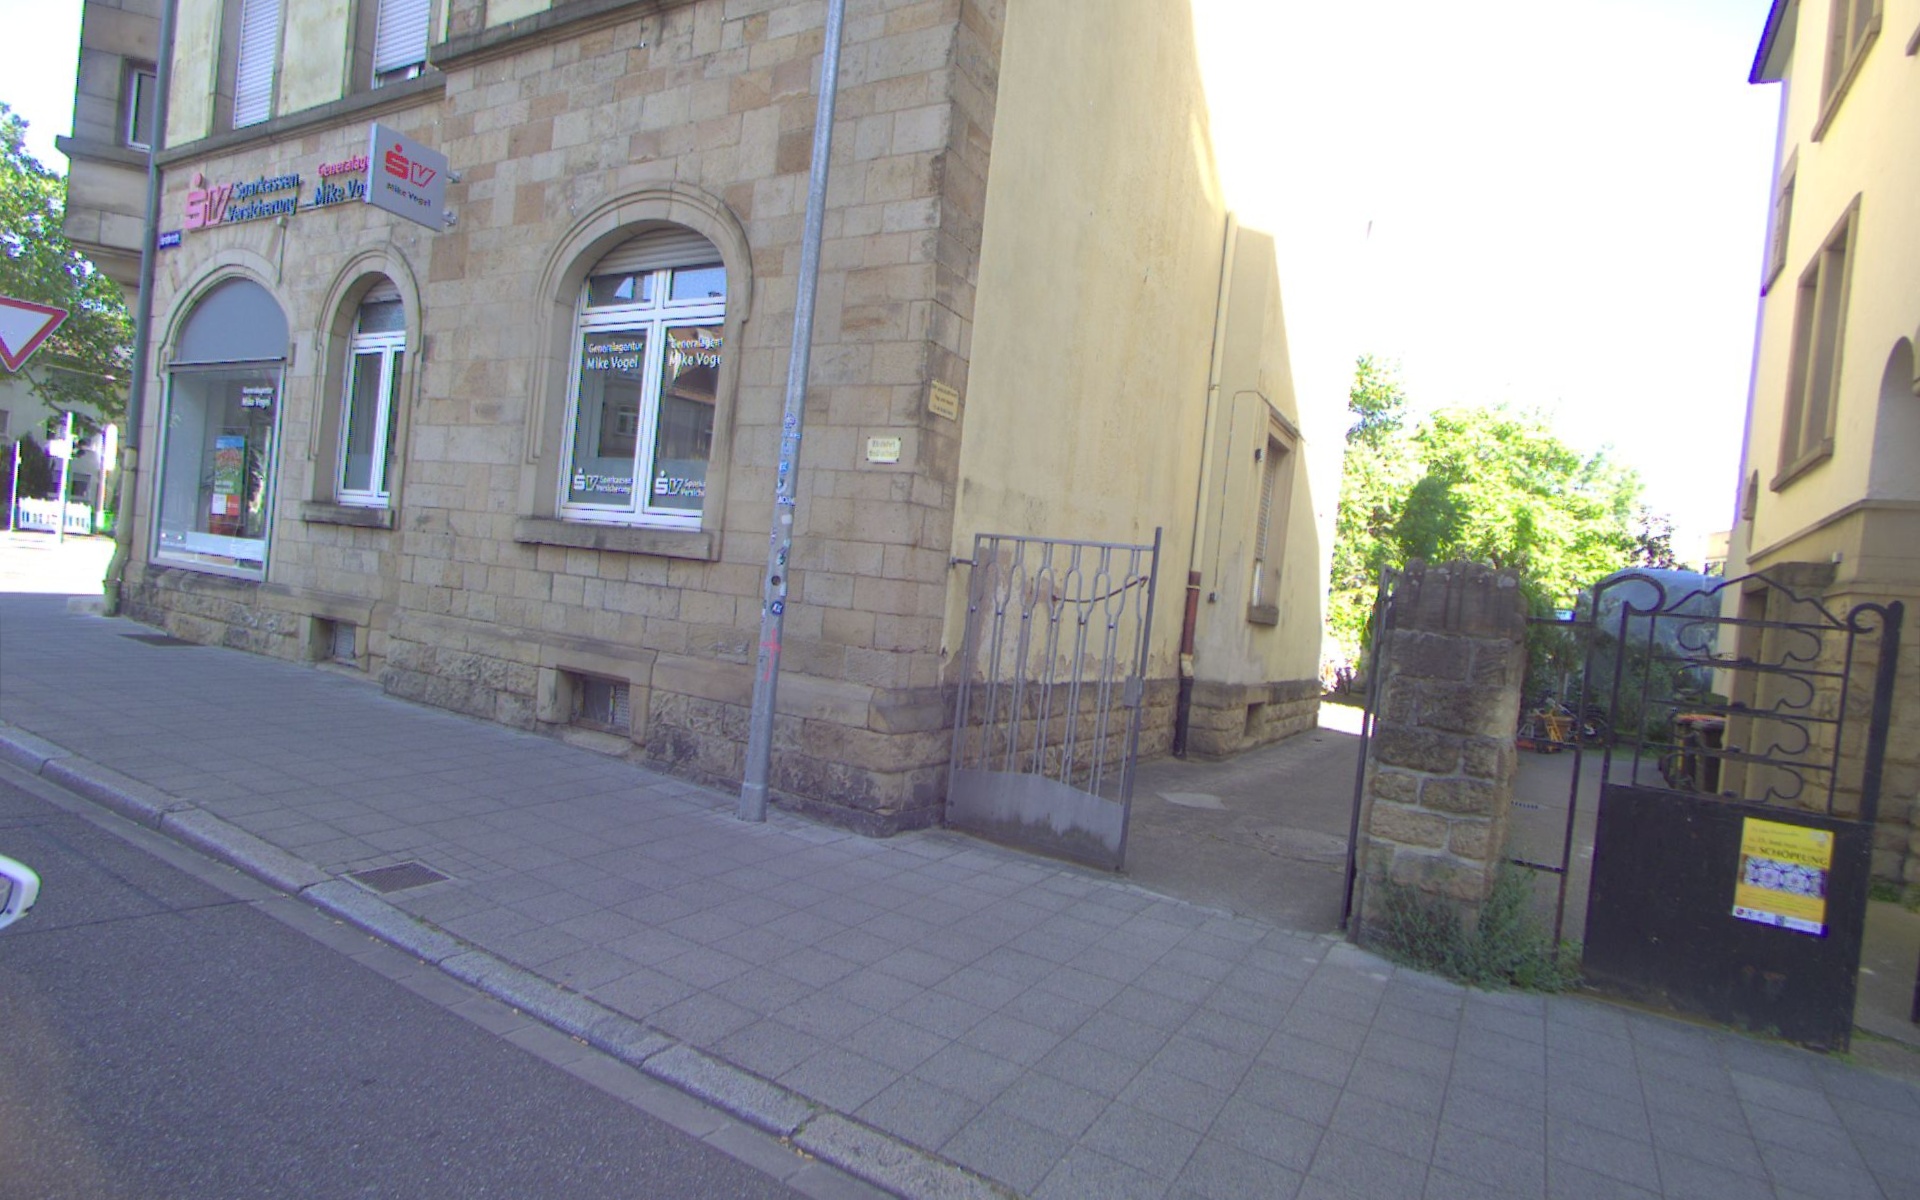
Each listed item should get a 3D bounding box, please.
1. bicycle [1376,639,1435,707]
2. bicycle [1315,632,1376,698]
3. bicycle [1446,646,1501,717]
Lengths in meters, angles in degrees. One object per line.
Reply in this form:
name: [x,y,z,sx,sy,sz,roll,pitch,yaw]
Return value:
bicycle: [11.214,1.781,25.253,0.904,1.532,2.667,6,2,31]
bicycle: [9.981,1.646,25.969,0.904,1.532,2.667,6,2,31]
bicycle: [12.599,1.941,24.639,0.904,1.532,2.667,6,2,31]
